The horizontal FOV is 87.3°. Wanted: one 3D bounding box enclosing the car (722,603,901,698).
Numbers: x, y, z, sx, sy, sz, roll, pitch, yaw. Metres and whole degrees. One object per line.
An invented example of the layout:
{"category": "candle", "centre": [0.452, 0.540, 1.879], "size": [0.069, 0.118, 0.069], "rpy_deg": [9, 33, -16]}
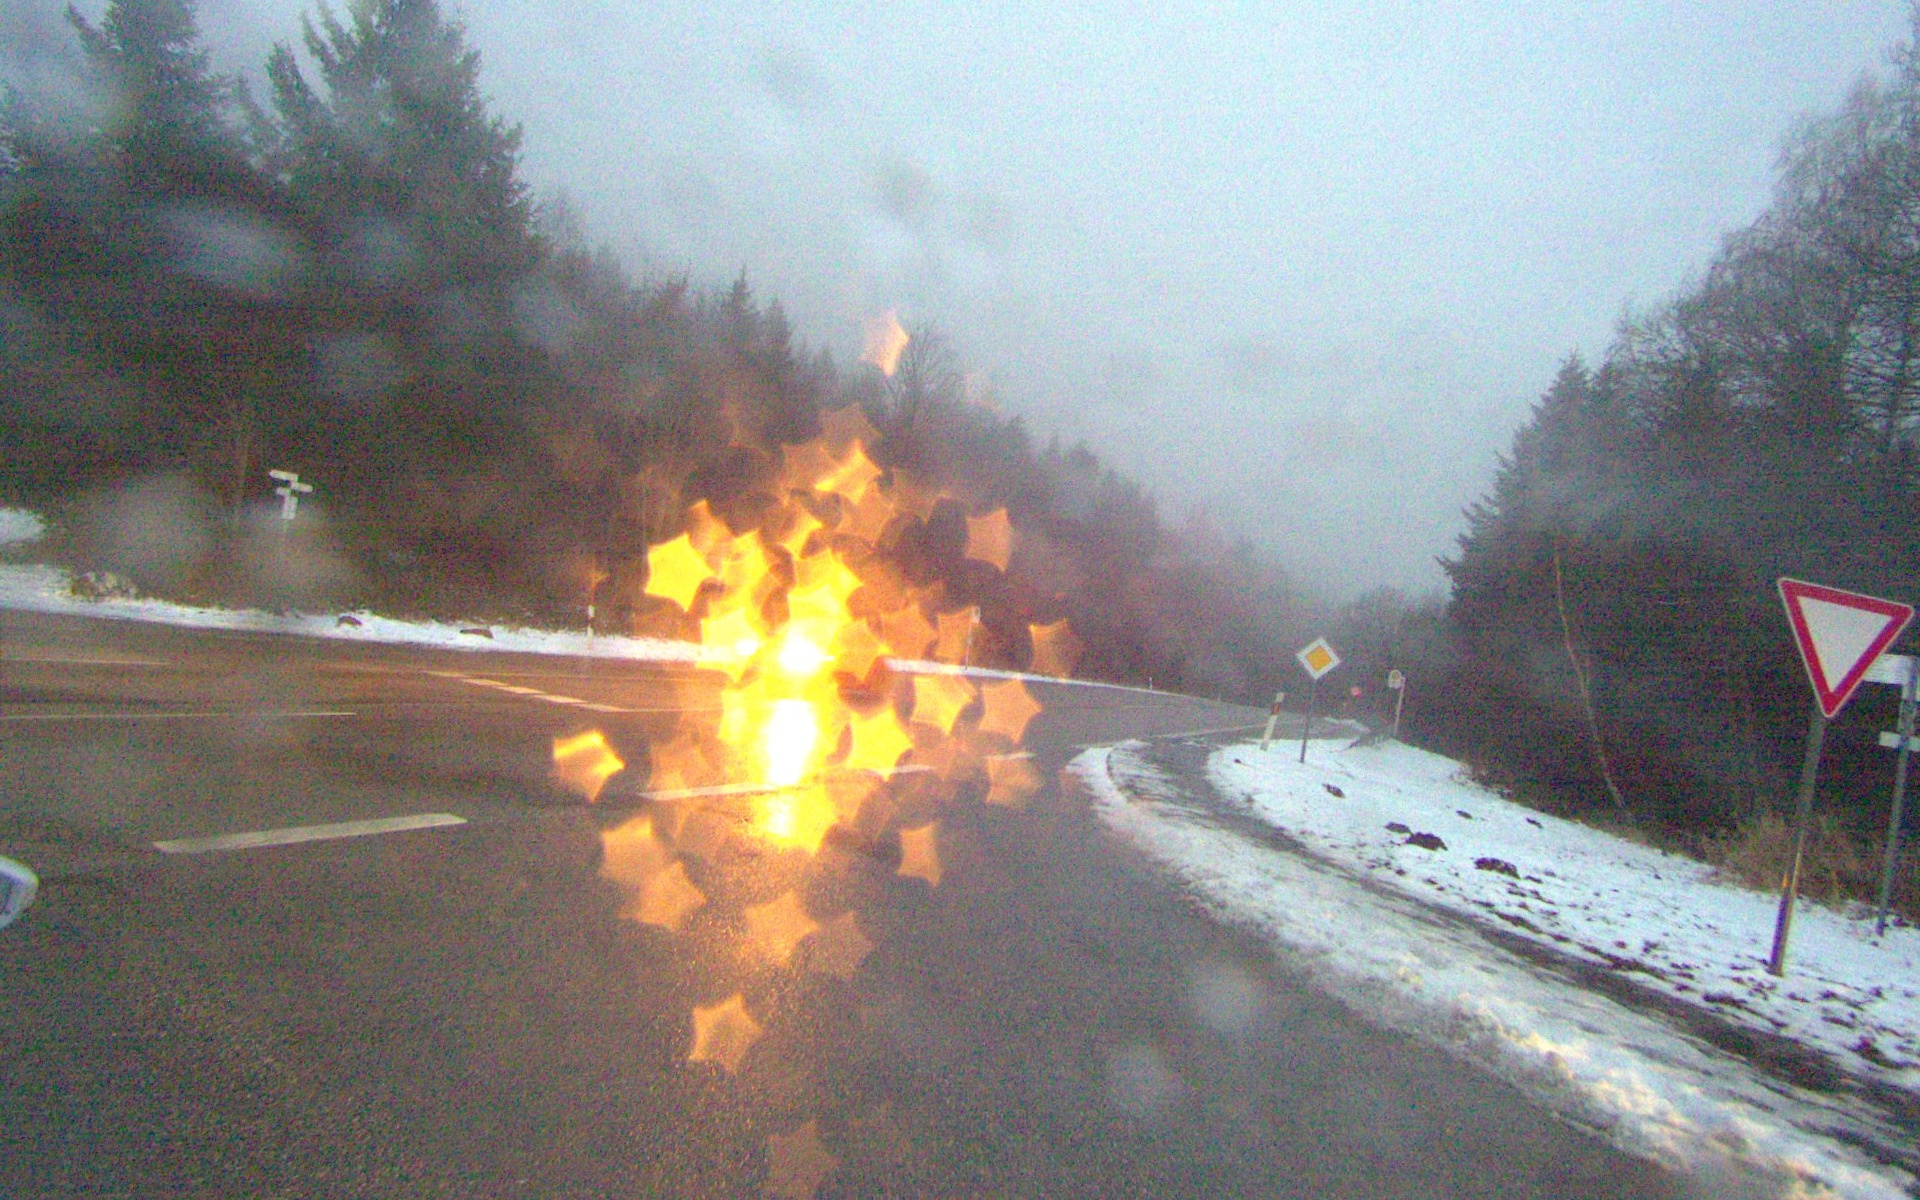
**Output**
{"category": "car", "centre": [-2.713, 1.009, 19.127], "size": [1.549, 1.469, 3.412], "rpy_deg": [6, -2, 27]}
